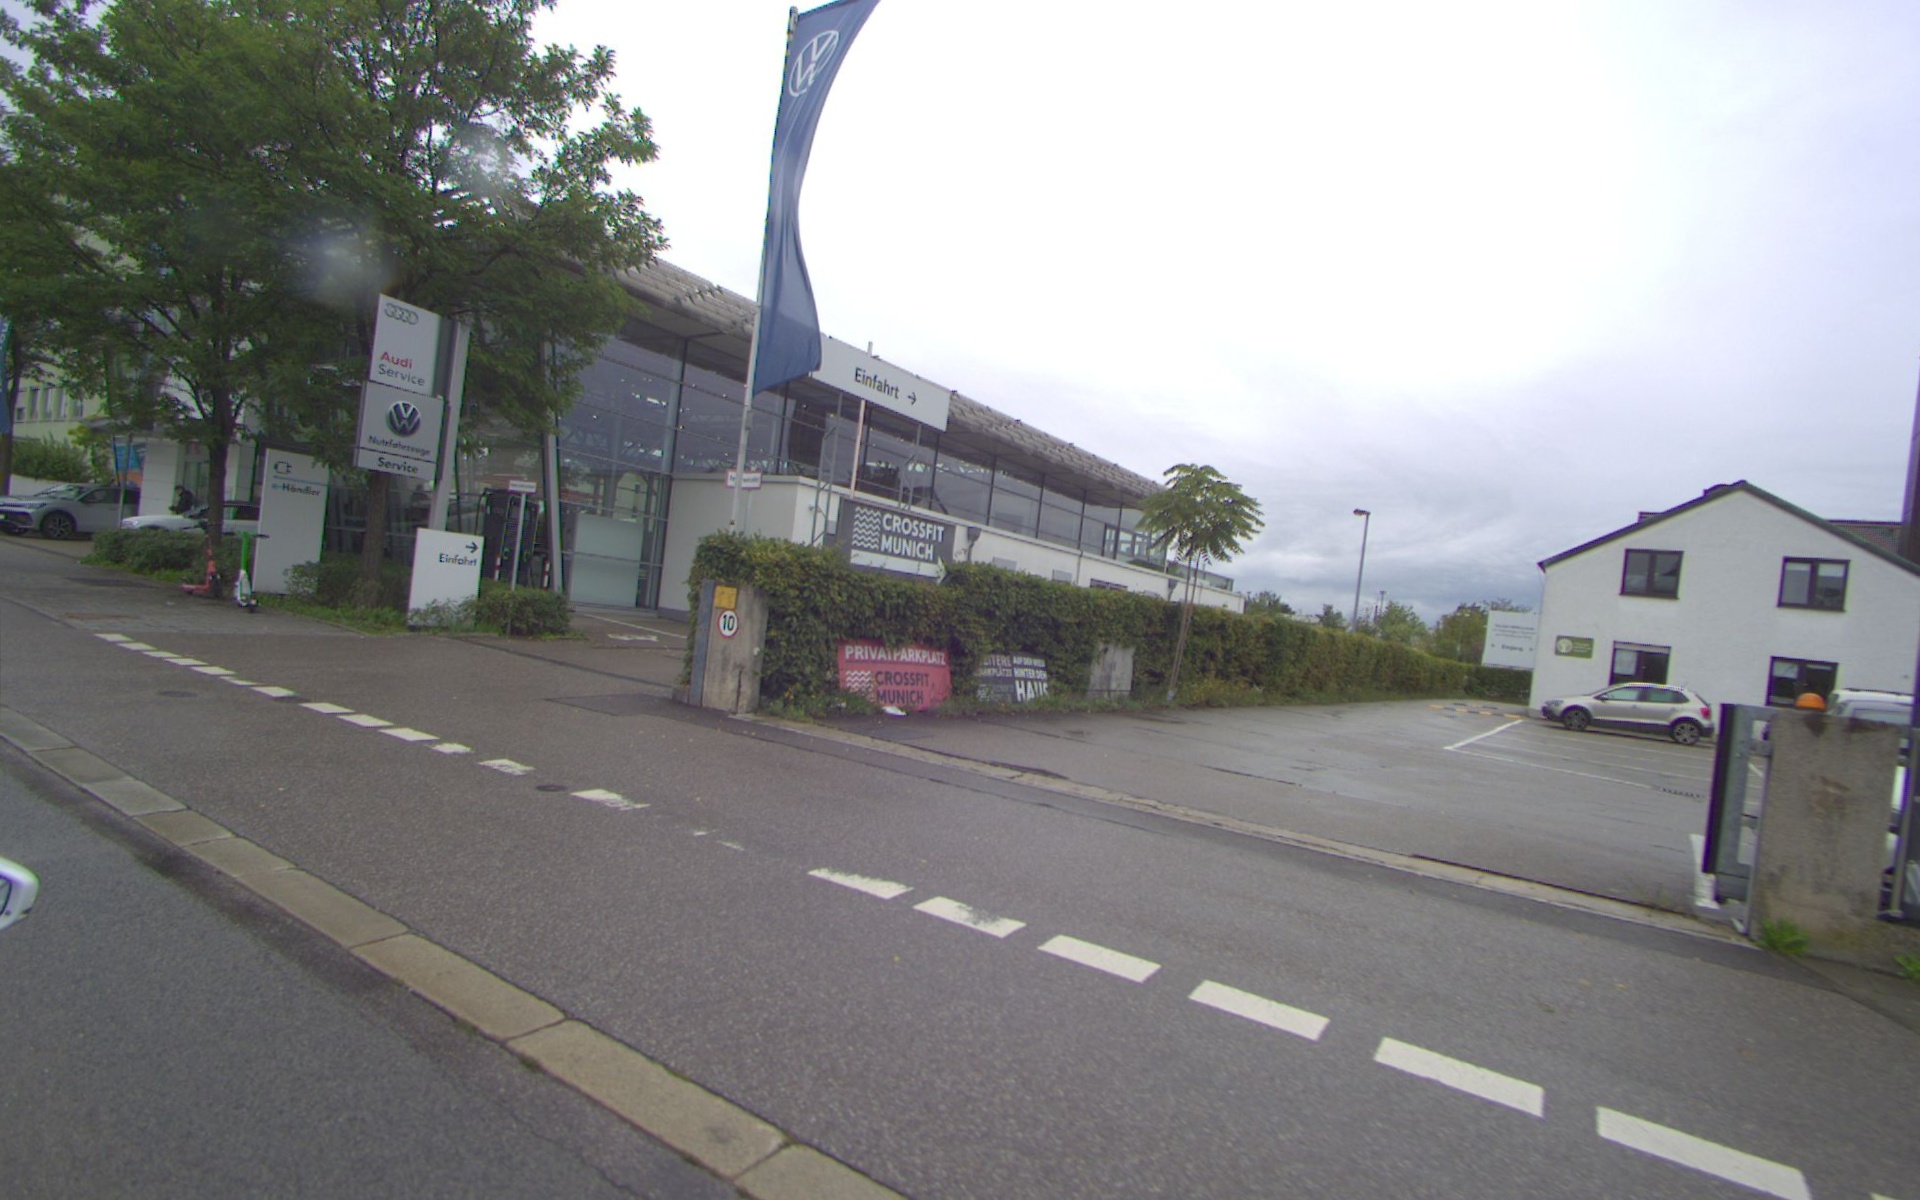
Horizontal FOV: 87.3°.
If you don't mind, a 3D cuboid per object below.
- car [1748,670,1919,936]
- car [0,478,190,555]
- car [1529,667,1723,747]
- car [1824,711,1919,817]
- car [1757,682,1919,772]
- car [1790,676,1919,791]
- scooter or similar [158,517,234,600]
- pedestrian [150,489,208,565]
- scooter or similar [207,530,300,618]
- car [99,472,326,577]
[{"bbox_3d":[7.032,1.396,7.220,1.765,1.478,4.016,6,-1,34],"label":"car"},{"bbox_3d":[-25.601,-2.394,29.408,1.969,1.728,4.604,5,0,14],"label":"car"},{"bbox_3d":[18.031,2.864,27.452,4.155,1.513,1.922,6,0,33],"label":"car"},{"bbox_3d":[15.656,2.640,14.516,4.547,1.403,1.922,6,-1,35],"label":"car"},{"bbox_3d":[22.066,3.101,23.928,4.614,1.688,1.921,6,0,35],"label":"car"},{"bbox_3d":[18.981,2.716,19.122,4.614,1.926,1.921,6,0,35],"label":"car"},{"bbox_3d":[-12.588,-0.695,16.569,1.406,1.221,0.495,7,3,32],"label":"scooter or similar"},{"bbox_3d":[-19.981,-1.853,25.753,0.704,1.798,0.805,7,0,-10],"label":"pedestrian"},{"bbox_3d":[-10.766,-0.403,15.320,1.404,1.221,0.496,6,3,25],"label":"scooter or similar"},{"bbox_3d":[-18.220,-1.783,24.816,4.214,2.039,1.947,5,1,-31],"label":"car"}]
